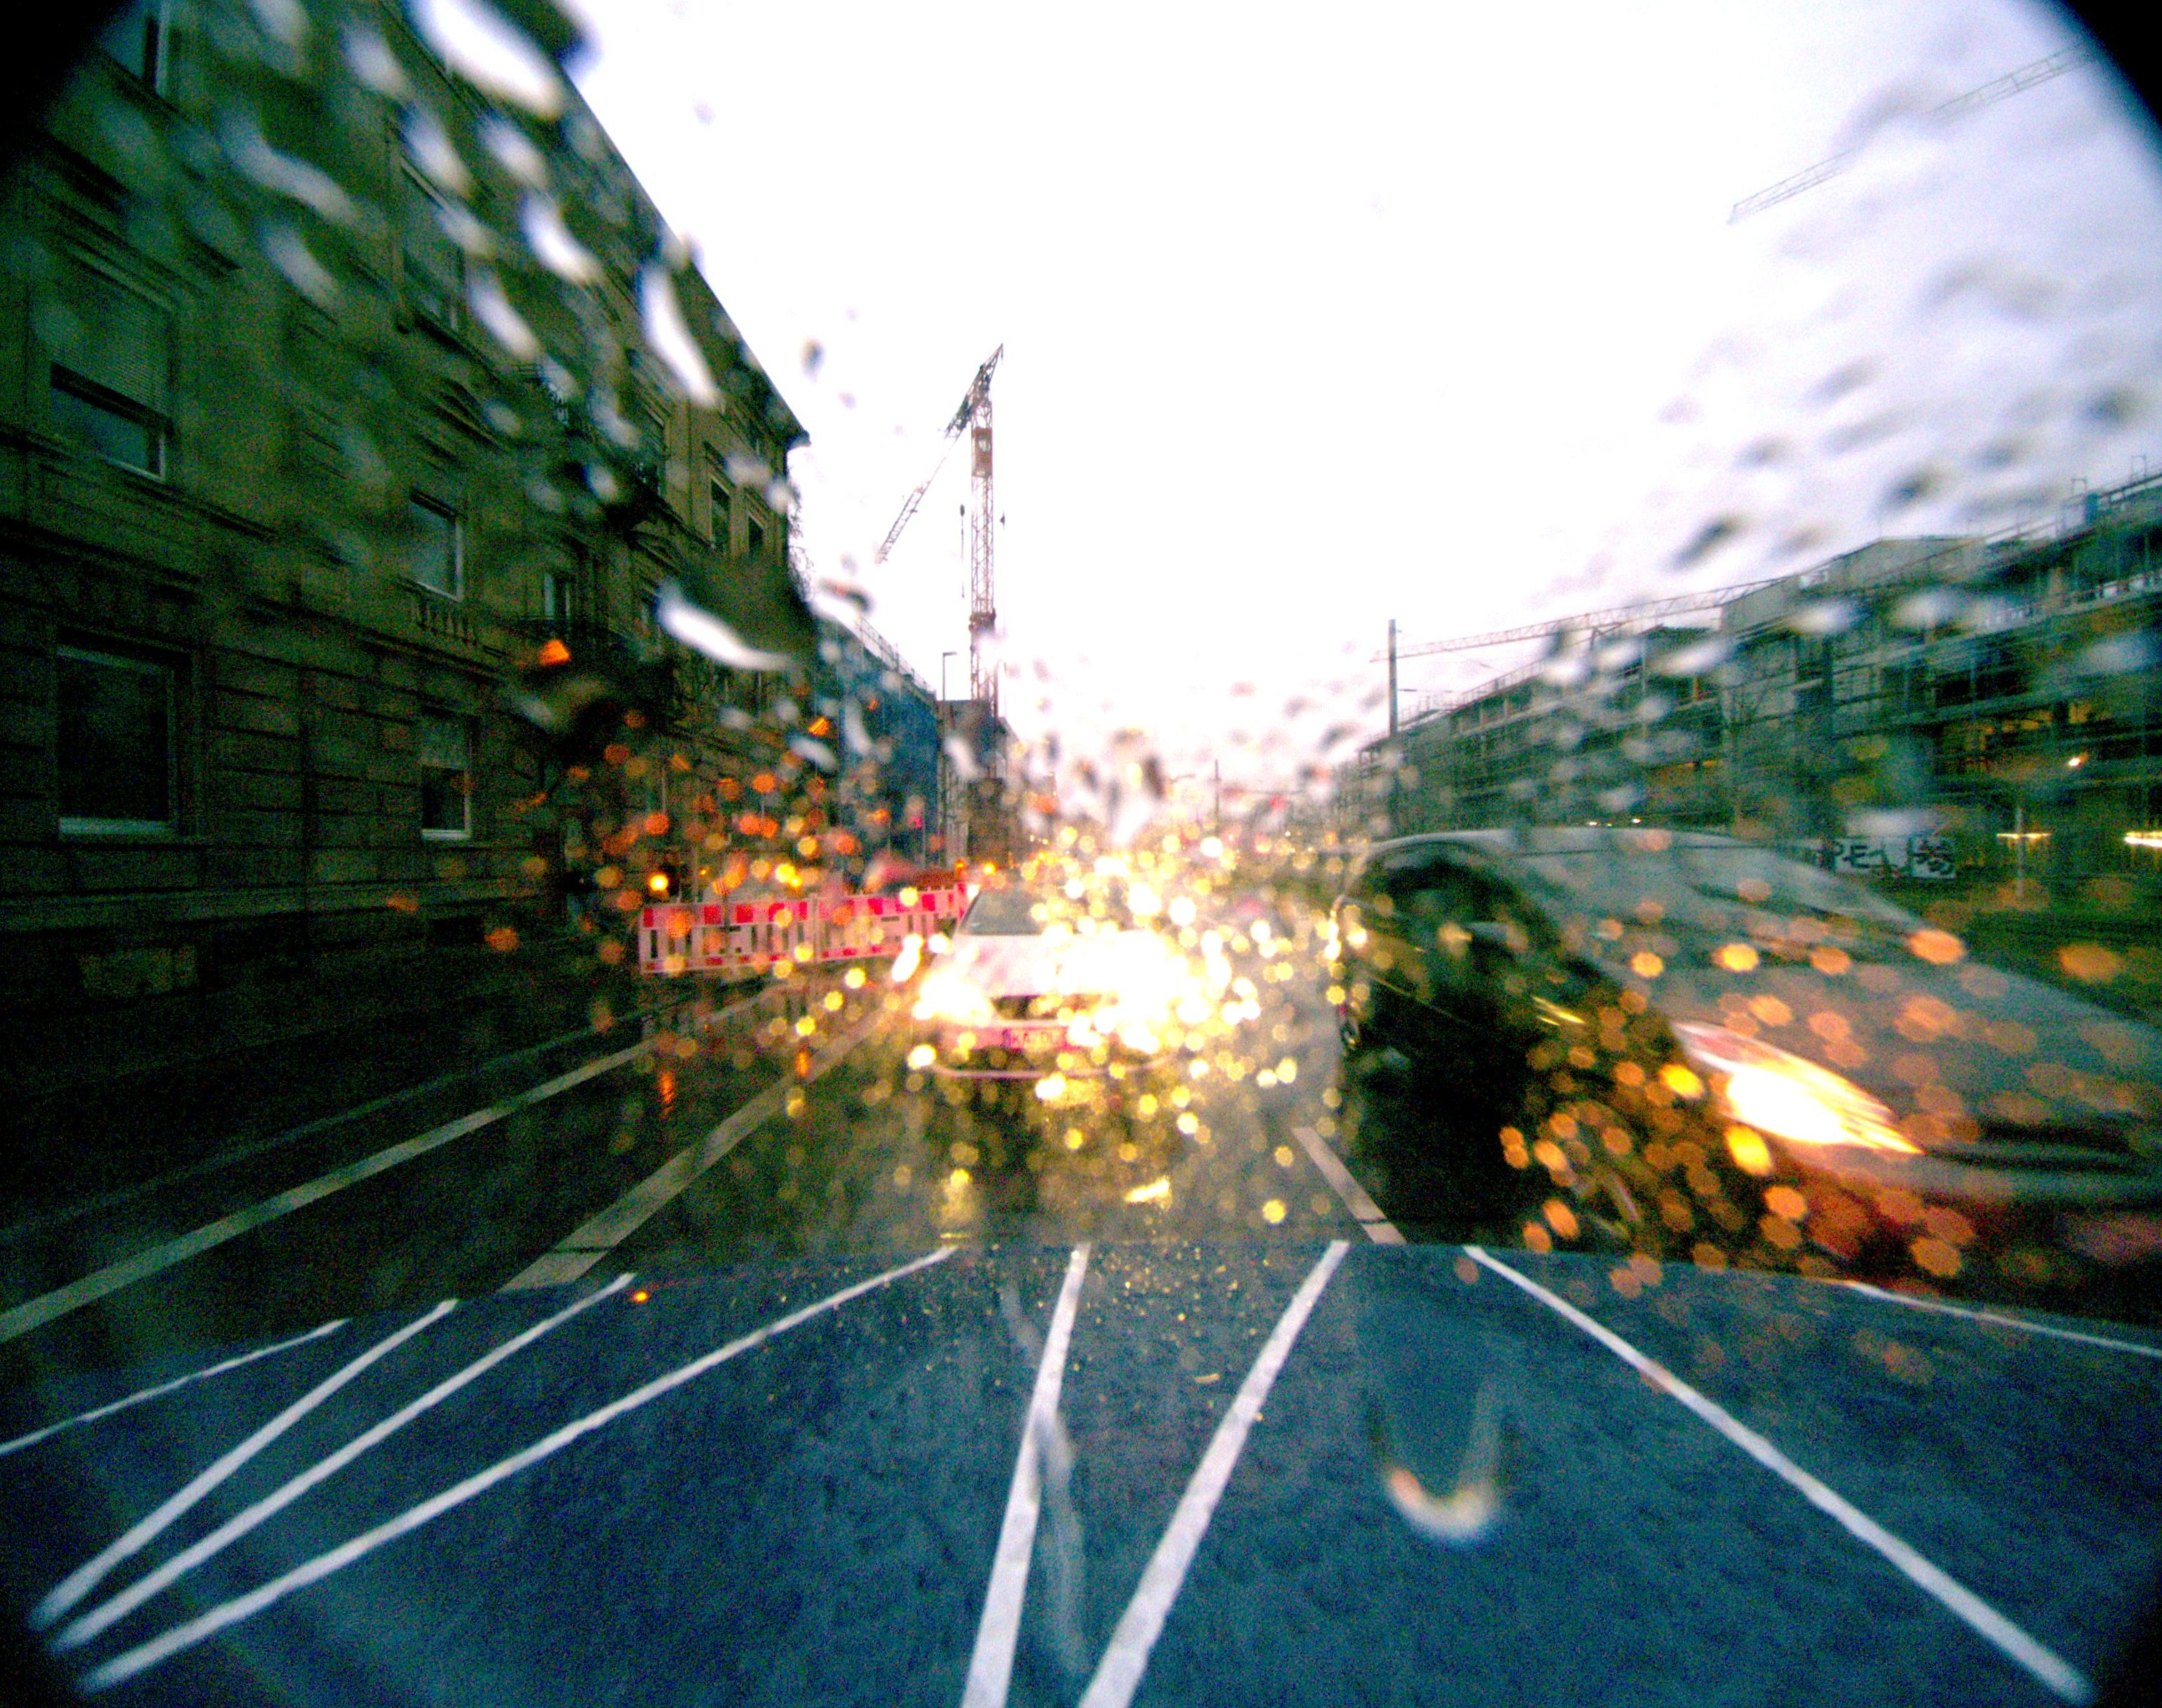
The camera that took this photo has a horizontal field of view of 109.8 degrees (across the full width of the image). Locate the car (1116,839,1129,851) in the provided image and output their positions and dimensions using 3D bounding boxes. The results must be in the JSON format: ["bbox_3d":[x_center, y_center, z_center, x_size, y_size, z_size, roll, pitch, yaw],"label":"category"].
[{"bbox_3d":[5.853,-1.270,106.624,1.768,1.614,3.900,-2,1,4],"label":"car"}]

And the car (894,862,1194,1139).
[{"bbox_3d":[-0.231,0.921,6.597,1.769,1.504,3.899,-3,1,0],"label":"car"}]

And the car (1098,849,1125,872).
[{"bbox_3d":[2.203,0.448,56.403,1.769,1.504,3.899,-3,1,0],"label":"car"}]

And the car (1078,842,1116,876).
[{"bbox_3d":[0.751,0.208,38.115,1.769,1.504,3.899,-3,1,0],"label":"car"}]

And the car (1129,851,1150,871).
[{"bbox_3d":[5.310,0.598,69.229,1.768,1.614,3.900,-2,1,4],"label":"car"}]

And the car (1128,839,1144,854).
[{"bbox_3d":[6.261,-0.897,86.932,1.768,1.614,3.900,-2,1,4],"label":"car"}]

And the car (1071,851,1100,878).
[{"bbox_3d":[0.268,0.632,48.869,1.769,1.504,3.899,-3,1,0],"label":"car"}]

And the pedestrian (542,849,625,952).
[{"bbox_3d":[-8.226,0.750,12.595,0.870,1.663,0.707,0,1,5],"label":"pedestrian"}]

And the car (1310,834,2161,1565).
[{"bbox_3d":[2.729,0.771,3.805,1.815,1.636,4.134,-2,0,-1],"label":"car"}]

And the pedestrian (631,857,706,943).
[{"bbox_3d":[-7.635,0.832,14.108,0.870,1.536,0.929,0,1,1],"label":"pedestrian"}]

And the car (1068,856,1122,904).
[{"bbox_3d":[0.471,0.898,27.952,1.769,1.504,3.899,-3,1,0],"label":"car"}]
